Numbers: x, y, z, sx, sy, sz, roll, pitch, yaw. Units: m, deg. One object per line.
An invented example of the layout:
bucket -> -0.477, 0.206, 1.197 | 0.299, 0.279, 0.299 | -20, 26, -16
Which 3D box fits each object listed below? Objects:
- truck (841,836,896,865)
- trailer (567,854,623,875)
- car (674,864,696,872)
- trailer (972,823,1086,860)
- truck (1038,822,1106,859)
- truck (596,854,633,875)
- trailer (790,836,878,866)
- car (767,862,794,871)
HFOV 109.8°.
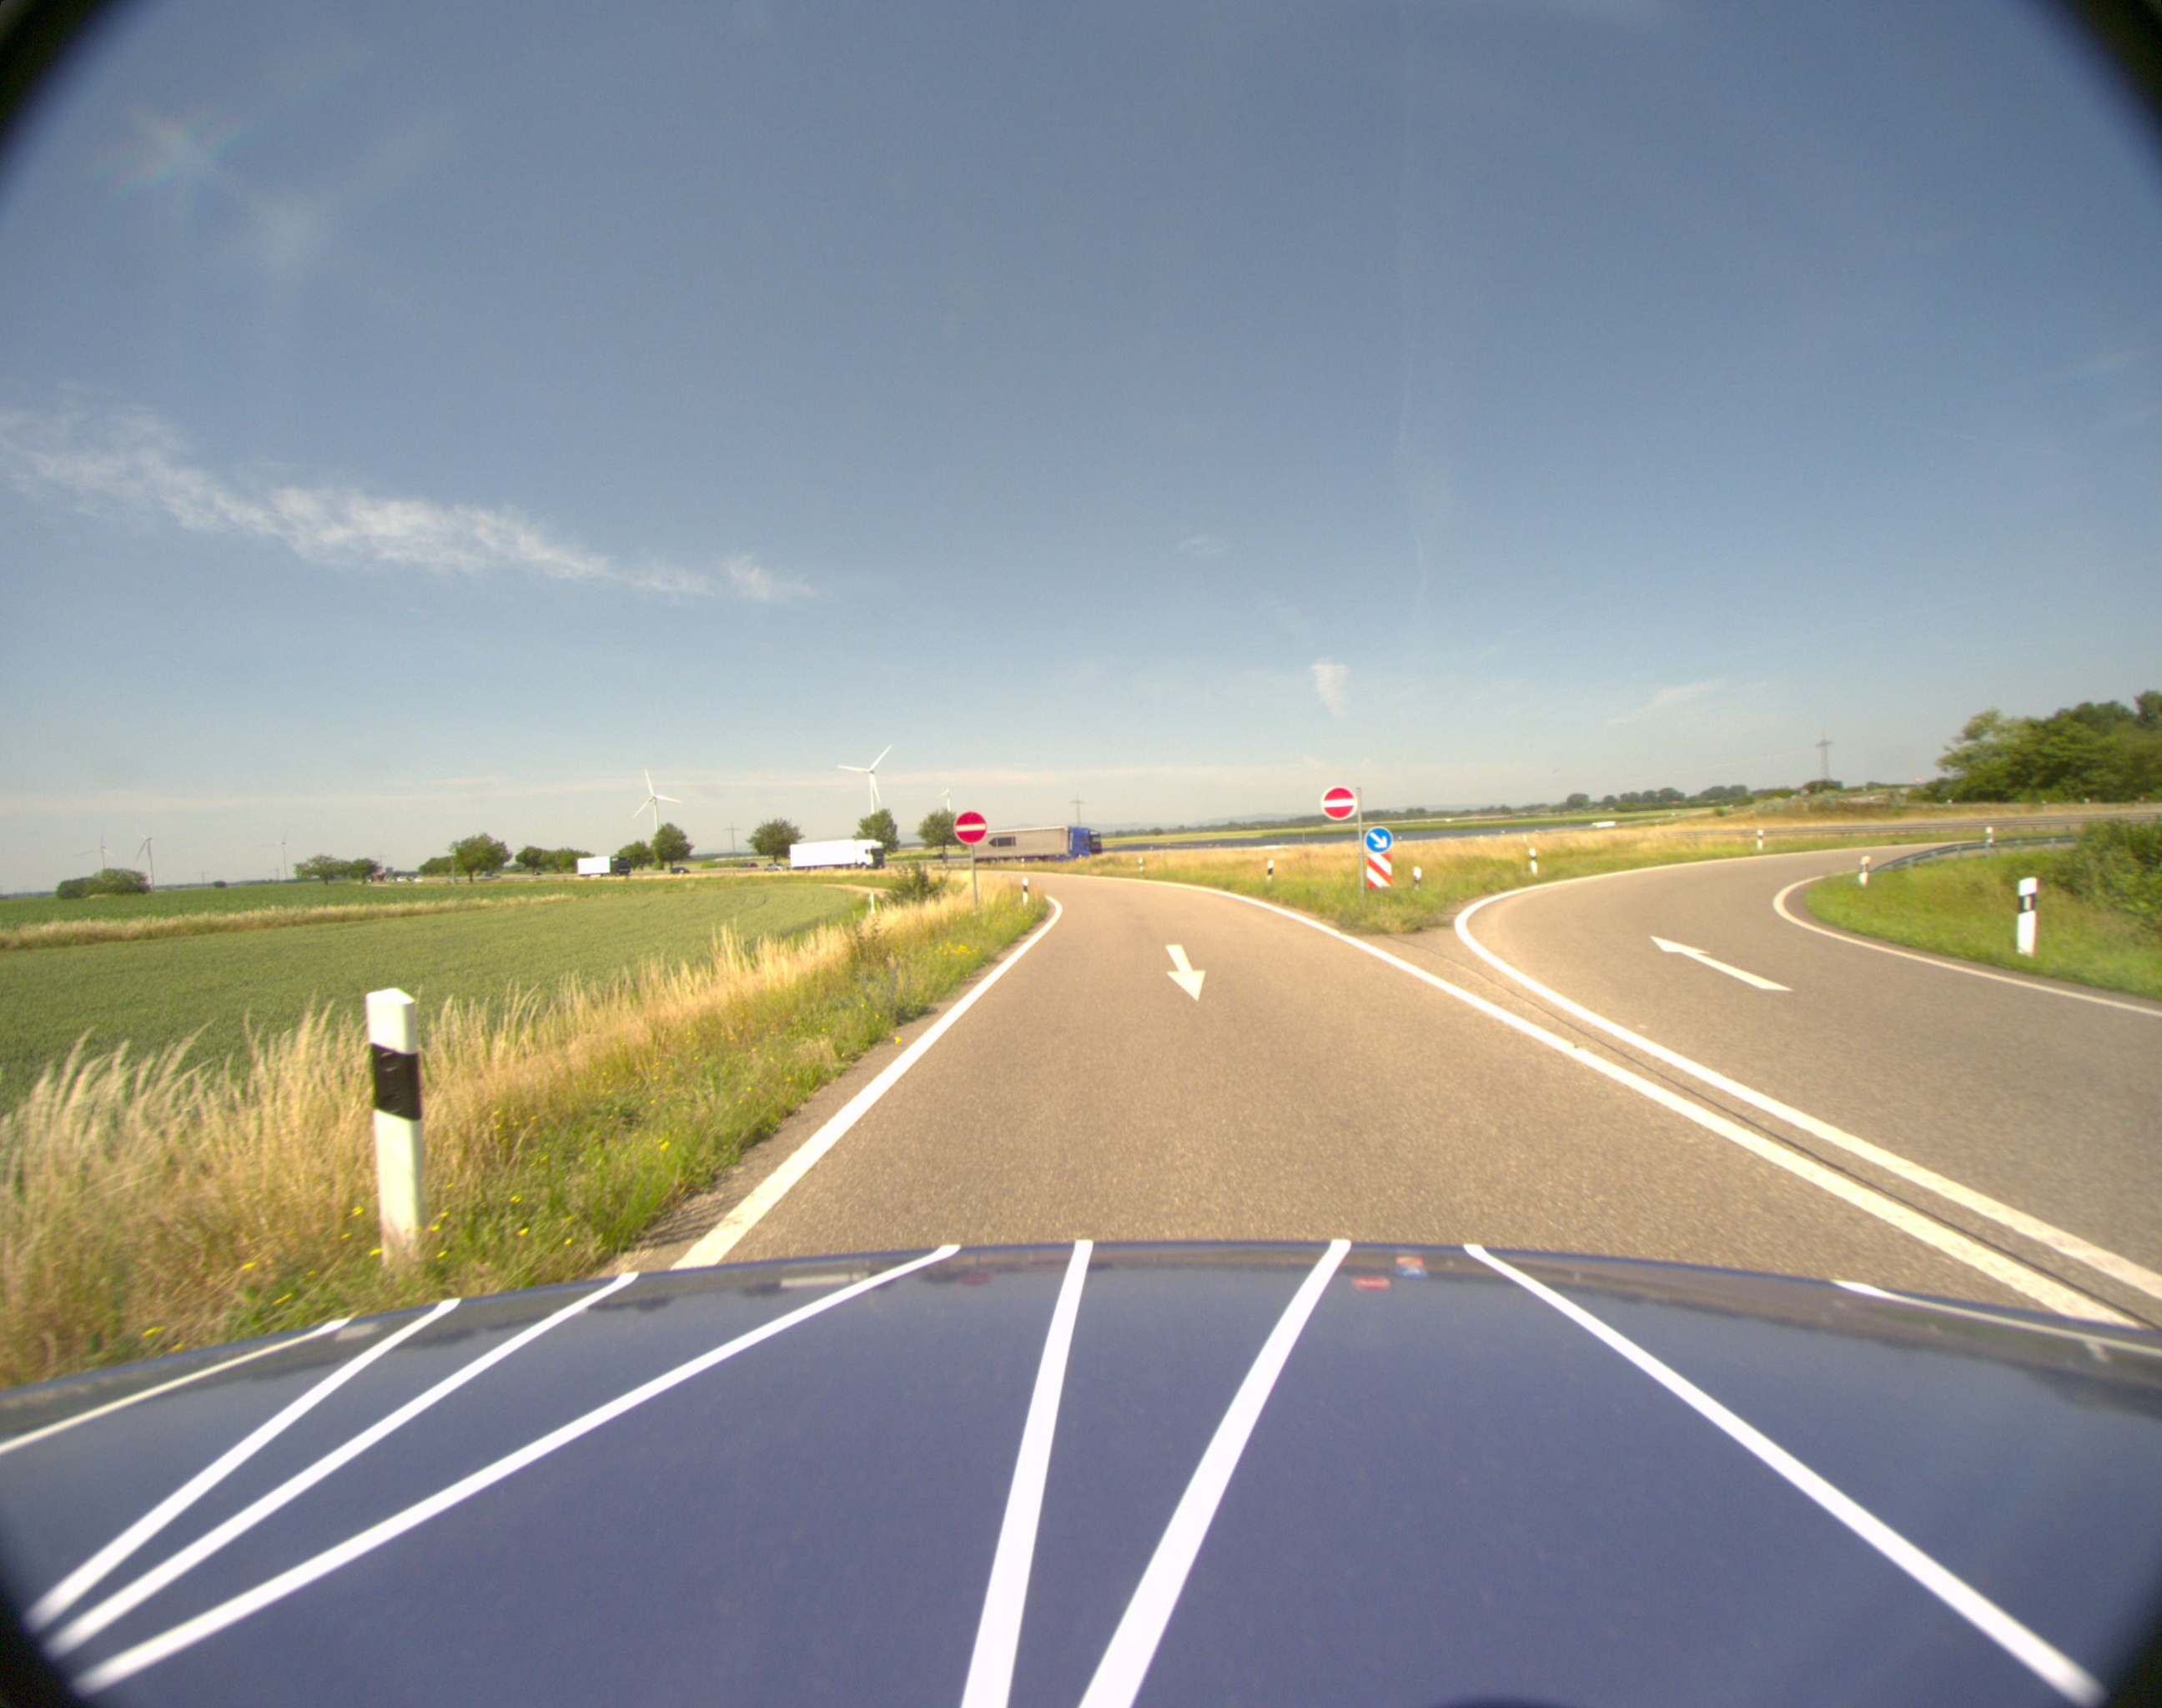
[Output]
truck -> -27.415, -0.437, 97.864 | 6.438, 3.498, 3.121 | -2, 1, 33
trailer -> -91.819, 2.049, 143.376 | 14.475, 3.623, 3.108 | -2, 1, 33
car -> -69.507, 2.428, 133.217 | 3.989, 1.346, 1.685 | -1, 1, 35
trailer -> -6.019, -1.296, 84.950 | 13.767, 3.623, 3.108 | -2, 1, 36
truck -> -0.971, -1.460, 81.230 | 6.612, 3.645, 3.121 | -2, 1, 36
truck -> -85.620, 1.933, 139.403 | 6.219, 3.498, 3.121 | -2, 1, 33
trailer -> -33.184, -0.344, 101.567 | 13.619, 3.623, 3.108 | -2, 1, 33
car -> -45.442, 1.878, 114.955 | 3.989, 1.346, 1.685 | -2, 1, 33
